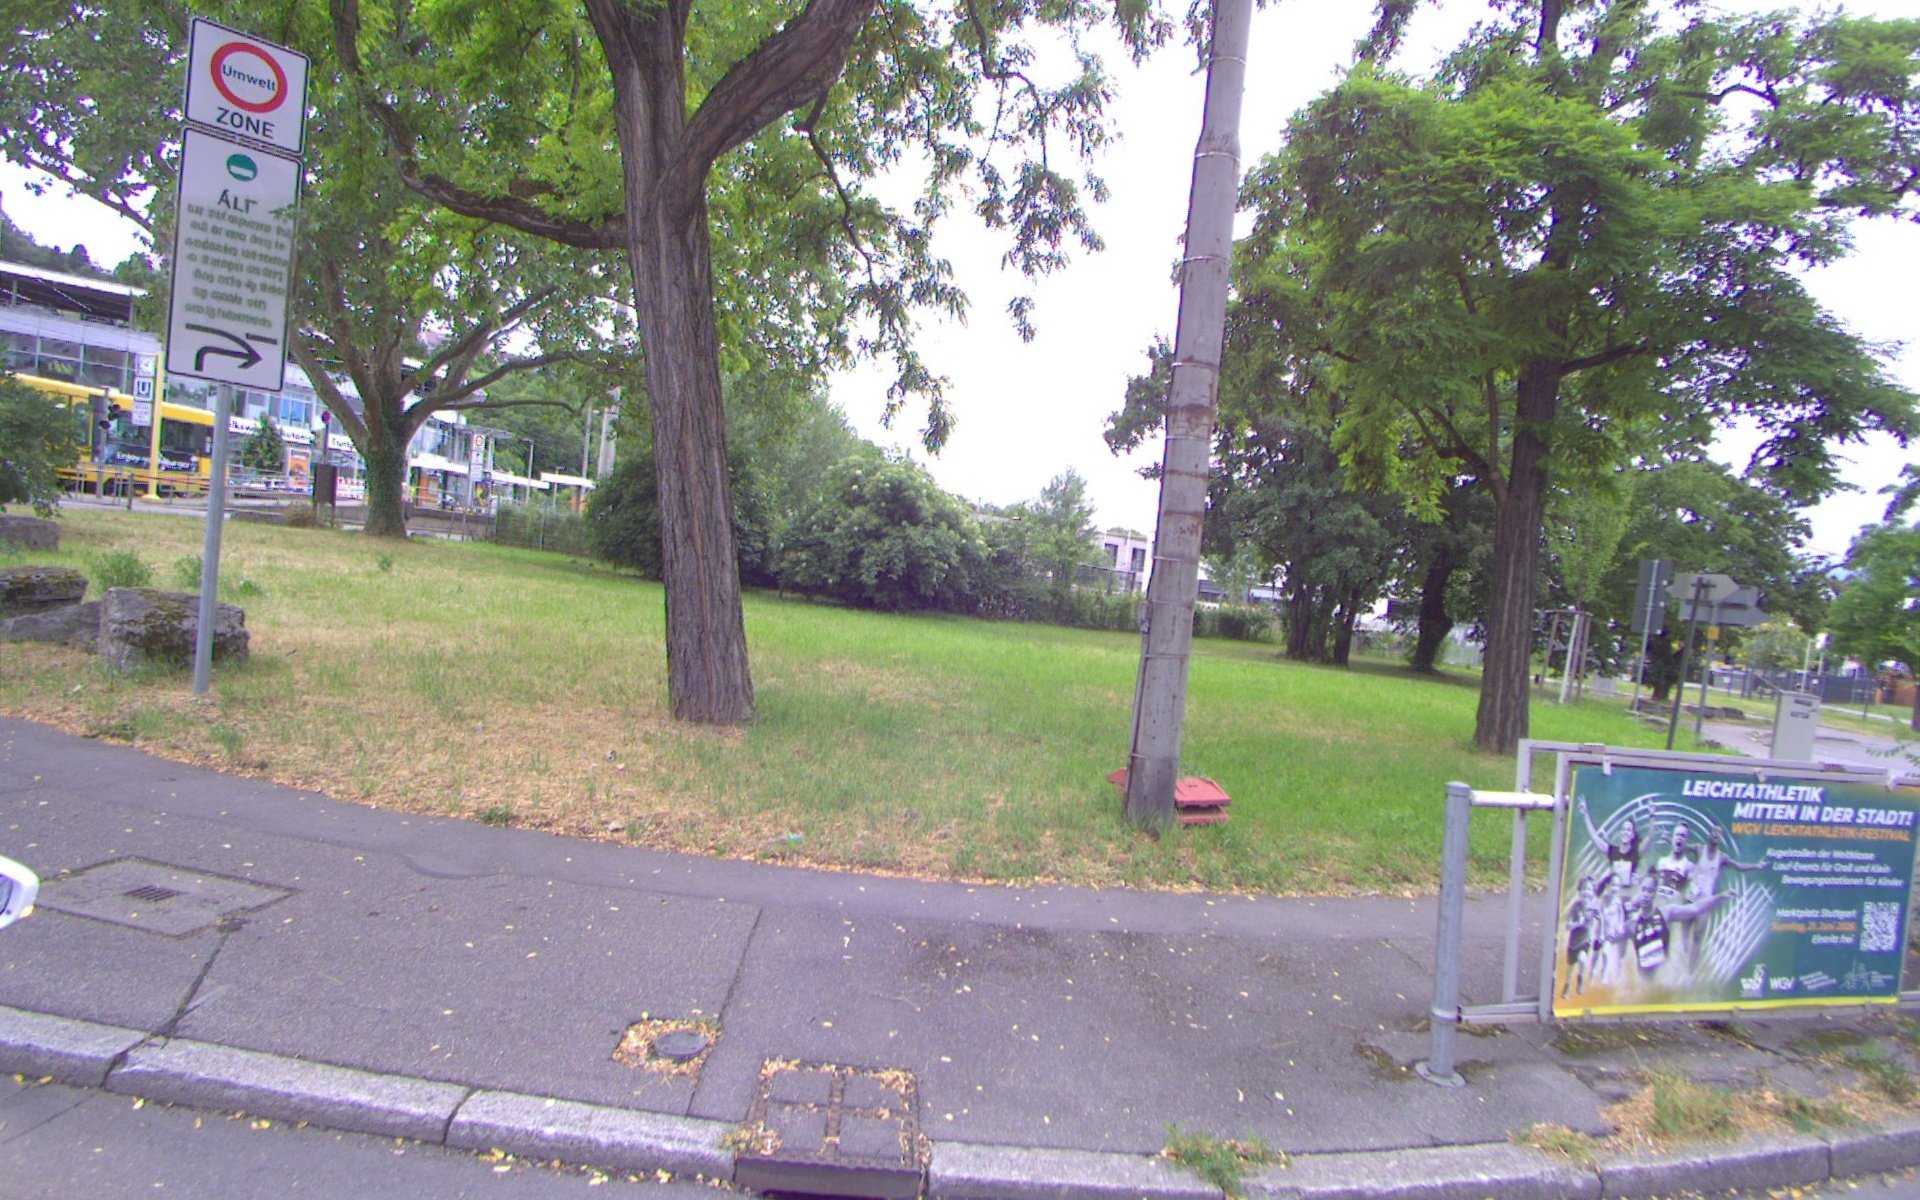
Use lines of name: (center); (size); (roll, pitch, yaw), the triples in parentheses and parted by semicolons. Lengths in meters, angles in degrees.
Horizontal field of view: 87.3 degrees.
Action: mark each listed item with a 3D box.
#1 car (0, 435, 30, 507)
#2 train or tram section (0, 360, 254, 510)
car: (-23.231, -3.108, 21.884); (1.768, 1.605, 4.125); (7, 2, 9)
train or tram section: (-30.443, -5.479, 29.244); (3.215, 3.713, 19.168); (7, 2, 11)
